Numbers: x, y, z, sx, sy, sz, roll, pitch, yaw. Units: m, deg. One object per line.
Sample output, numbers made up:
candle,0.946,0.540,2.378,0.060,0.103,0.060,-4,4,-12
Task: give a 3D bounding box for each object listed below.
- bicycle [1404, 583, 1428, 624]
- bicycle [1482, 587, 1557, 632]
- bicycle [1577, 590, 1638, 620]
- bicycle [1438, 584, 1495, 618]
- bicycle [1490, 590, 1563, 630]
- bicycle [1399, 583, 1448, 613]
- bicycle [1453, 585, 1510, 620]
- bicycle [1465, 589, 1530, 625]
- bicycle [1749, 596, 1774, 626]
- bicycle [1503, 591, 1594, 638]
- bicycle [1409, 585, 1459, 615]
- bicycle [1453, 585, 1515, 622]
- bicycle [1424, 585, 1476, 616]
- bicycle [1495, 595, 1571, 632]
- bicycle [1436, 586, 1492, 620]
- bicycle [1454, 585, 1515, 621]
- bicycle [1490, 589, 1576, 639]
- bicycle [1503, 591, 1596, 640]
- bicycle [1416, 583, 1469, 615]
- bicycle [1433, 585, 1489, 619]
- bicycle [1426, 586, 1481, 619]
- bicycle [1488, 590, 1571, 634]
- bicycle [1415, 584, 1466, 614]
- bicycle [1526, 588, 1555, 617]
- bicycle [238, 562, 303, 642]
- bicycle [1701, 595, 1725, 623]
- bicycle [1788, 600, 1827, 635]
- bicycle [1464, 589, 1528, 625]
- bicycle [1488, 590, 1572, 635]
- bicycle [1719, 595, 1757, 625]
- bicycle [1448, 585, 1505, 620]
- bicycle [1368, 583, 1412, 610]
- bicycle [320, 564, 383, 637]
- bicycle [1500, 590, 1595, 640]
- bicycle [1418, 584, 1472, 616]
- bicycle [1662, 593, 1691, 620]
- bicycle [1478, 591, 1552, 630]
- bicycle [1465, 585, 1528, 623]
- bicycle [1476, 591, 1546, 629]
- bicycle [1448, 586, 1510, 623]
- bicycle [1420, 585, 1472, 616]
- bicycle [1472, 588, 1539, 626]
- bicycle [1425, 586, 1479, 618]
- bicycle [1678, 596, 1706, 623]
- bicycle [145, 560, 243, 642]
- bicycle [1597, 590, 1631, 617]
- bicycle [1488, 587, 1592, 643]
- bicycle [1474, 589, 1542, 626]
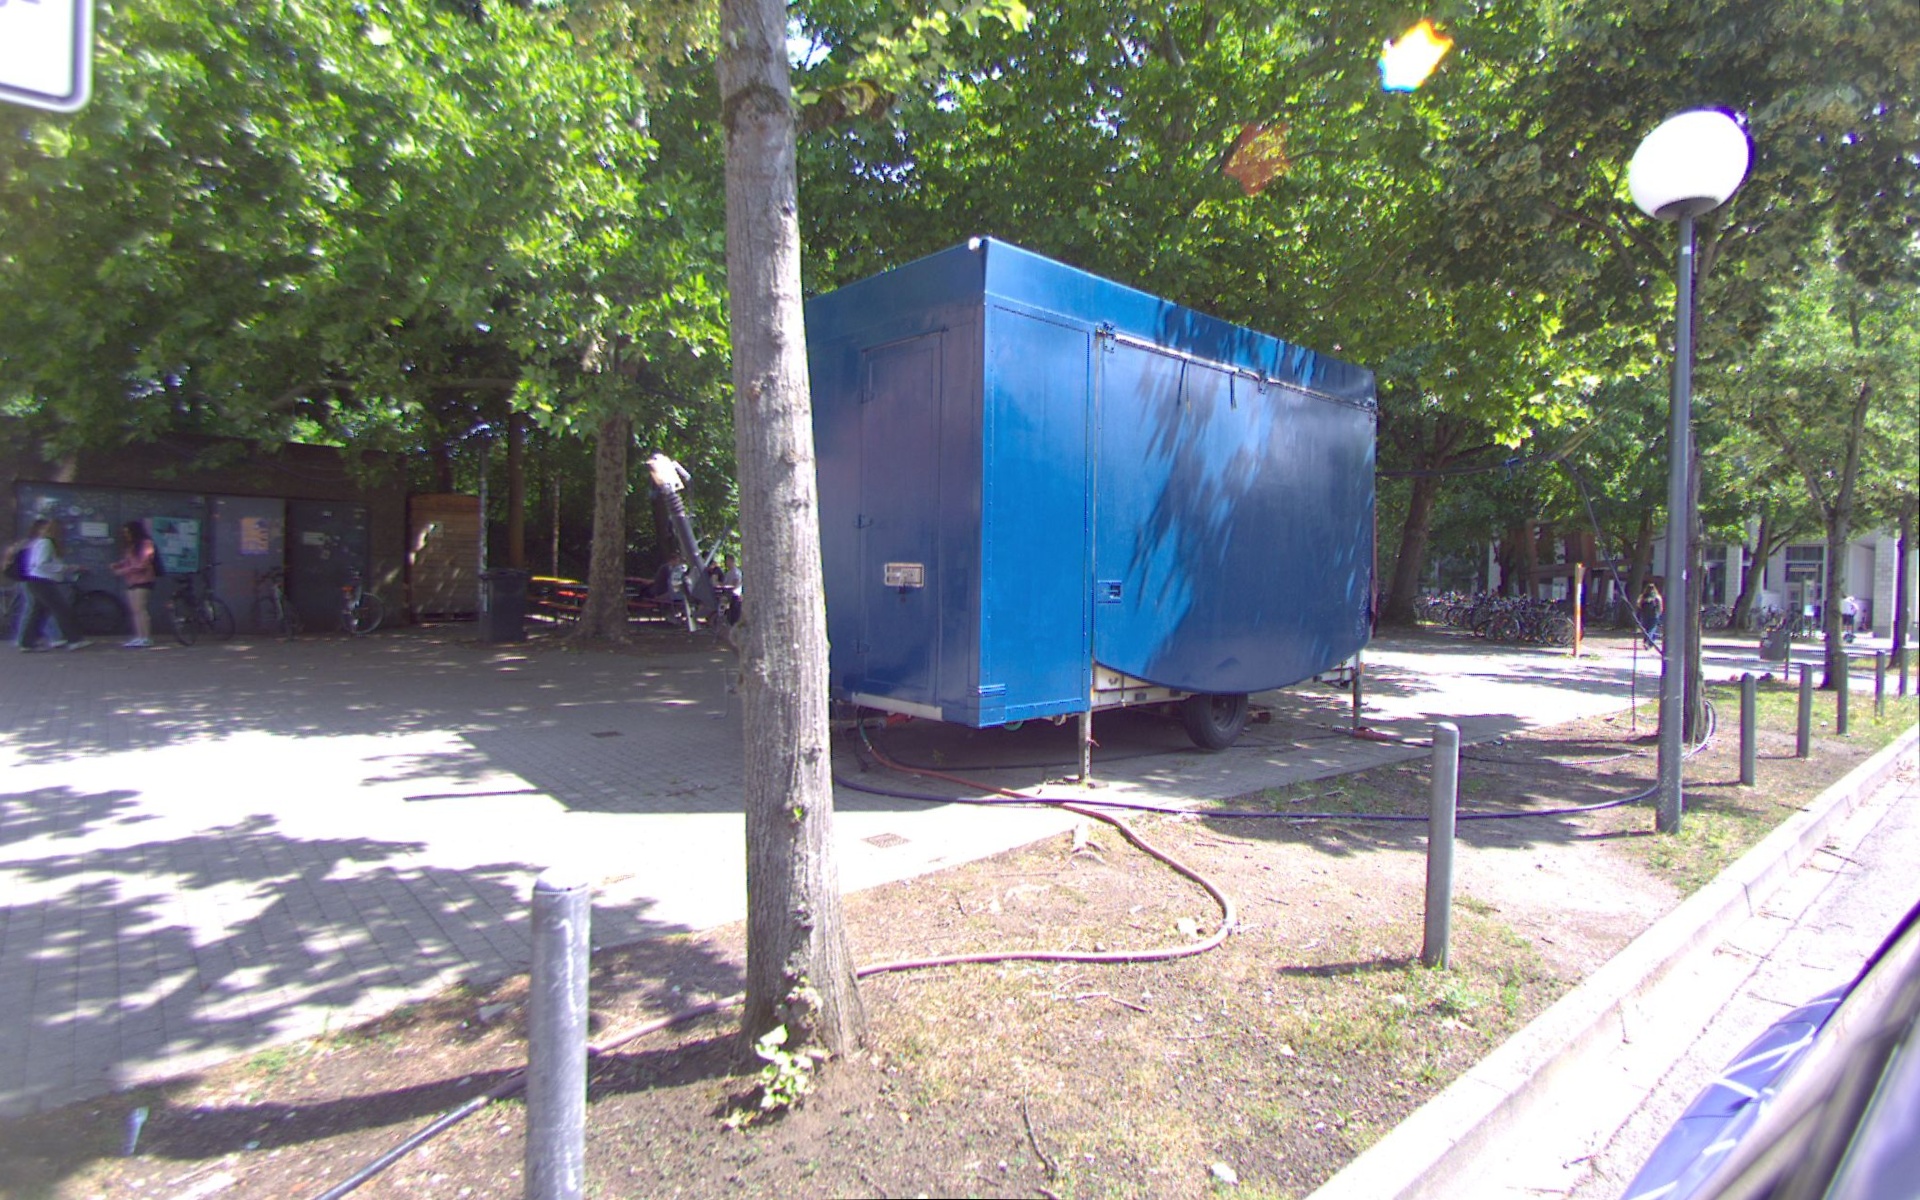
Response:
bicycle,12.962,0.090,28.754,0.474,1.096,1.886,3,3,27
bicycle,15.691,0.250,28.416,1.712,1.169,0.493,3,1,13
bicycle,25.747,0.198,40.288,1.895,1.123,0.630,2,2,12
bicycle,18.763,0.043,37.501,1.817,1.185,0.344,3,1,12
bicycle,16.217,0.271,29.004,1.712,1.065,0.493,3,1,13
bicycle,19.831,-0.101,43.330,1.815,1.185,0.412,2,1,10
bicycle,18.686,0.097,36.278,1.811,1.185,0.345,2,1,2
bicycle,17.363,0.211,32.747,1.771,1.083,0.423,3,1,21
bicycle,32.943,0.468,41.568,1.465,1.155,0.560,2,2,-44
bicycle,14.986,0.350,25.810,1.939,1.095,0.399,3,2,38
bicycle,19.951,-0.019,42.619,1.815,1.185,0.412,2,1,10
bicycle,18.183,0.117,35.132,1.819,1.185,0.401,3,1,15
bicycle,20.085,0.018,41.500,1.817,1.185,0.387,3,1,12
bicycle,15.751,0.371,27.868,1.717,0.920,0.491,3,1,20
bicycle,18.831,0.096,37.840,1.817,1.185,0.344,3,1,12
bicycle,18.370,0.095,35.465,1.819,1.185,0.344,3,1,15
bicycle,13.970,0.327,24.707,1.764,1.095,0.432,3,2,38
bicycle,14.649,0.360,25.190,1.939,1.095,0.399,3,2,38
bicycle,19.253,-0.032,40.390,1.817,1.185,0.352,3,1,12
bicycle,18.899,0.082,38.171,1.817,1.185,0.344,3,1,12
bicycle,18.957,0.086,38.899,1.817,1.185,0.352,3,1,12
bicycle,15.278,0.315,27.198,1.895,1.072,0.322,3,1,26
bicycle,19.932,-0.051,41.997,1.815,1.185,0.387,2,1,10
bicycle,23.749,0.094,41.432,0.468,1.123,1.665,2,2,11
bicycle,-10.463,-0.009,15.384,0.768,1.085,2.405,0,2,-34
bicycle,31.833,0.371,42.786,1.447,1.099,0.460,3,2,-41
bicycle,29.717,0.602,35.511,0.622,1.097,1.674,0,3,25
bicycle,17.824,0.226,33.664,1.766,1.083,0.425,3,1,13
bicycle,15.138,0.320,26.925,1.895,1.072,0.322,3,1,26
bicycle,32.242,0.407,41.927,1.494,1.155,0.493,3,1,-22
bicycle,18.705,0.078,36.652,1.811,1.185,0.345,2,1,2
bicycle,20.190,-0.176,47.524,1.812,1.185,0.345,2,1,4
bicycle,-9.772,-0.010,16.312,0.767,1.085,2.407,0,1,-29
bicycle,14.406,0.351,24.840,1.939,1.095,0.399,3,2,38
bicycle,19.184,-0.017,40.040,1.817,1.185,0.352,3,1,12
bicycle,30.898,0.281,43.627,1.664,1.099,0.482,3,2,-37
bicycle,16.169,0.287,29.512,1.772,1.041,0.438,3,1,17
bicycle,18.246,0.123,34.441,1.767,1.185,0.401,3,1,15
bicycle,16.508,0.290,30.353,1.769,1.041,0.380,3,1,17
bicycle,17.537,0.142,34.216,1.767,1.185,0.401,3,1,15
bicycle,19.775,0.016,41.176,1.817,1.185,0.352,3,1,12
bicycle,17.198,0.210,31.961,1.770,1.083,0.424,3,1,19
bicycle,19.070,0.074,39.256,1.817,1.185,0.352,3,1,12
bicycle,31.422,0.409,43.444,1.487,1.099,0.482,3,2,-37
bicycle,-11.179,-0.033,14.842,0.767,1.085,2.408,0,2,-28
bicycle,27.933,0.153,43.226,1.792,1.091,0.464,3,2,-34
bicycle,13.491,0.334,23.571,2.010,1.181,0.643,3,2,37
bicycle,17.061,0.224,31.545,1.770,1.083,0.424,3,1,19
